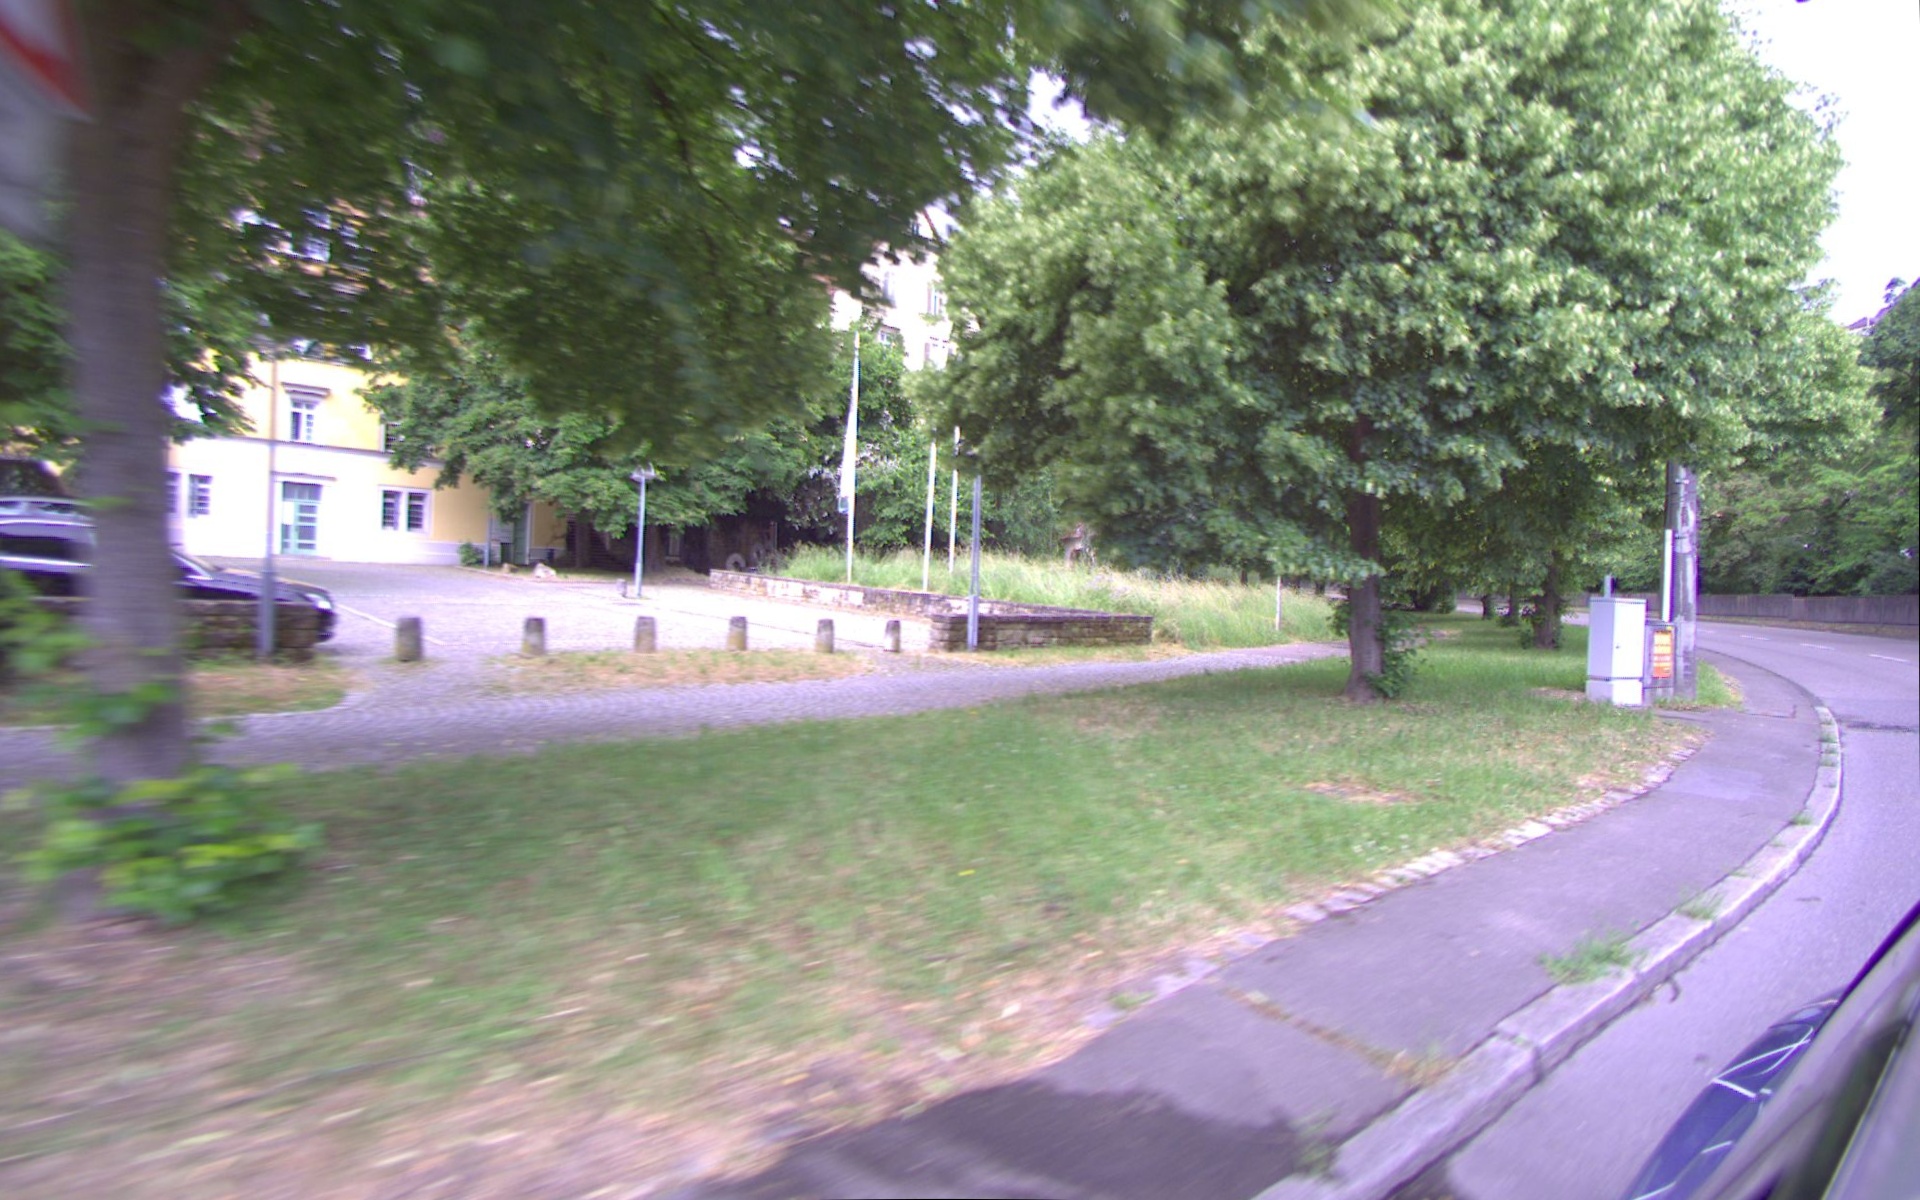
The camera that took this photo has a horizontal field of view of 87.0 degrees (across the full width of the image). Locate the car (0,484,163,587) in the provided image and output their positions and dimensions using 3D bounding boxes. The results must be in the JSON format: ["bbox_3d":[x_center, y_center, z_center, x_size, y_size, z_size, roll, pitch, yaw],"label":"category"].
[{"bbox_3d":[-17.491,-1.273,18.907,3.929,1.670,1.999,4,3,-41],"label":"car"}]

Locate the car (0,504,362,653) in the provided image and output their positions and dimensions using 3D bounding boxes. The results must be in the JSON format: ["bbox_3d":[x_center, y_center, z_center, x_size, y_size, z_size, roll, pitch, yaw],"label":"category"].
[{"bbox_3d":[-9.398,-0.236,11.187,1.907,1.449,4.395,5,1,43],"label":"car"}]
